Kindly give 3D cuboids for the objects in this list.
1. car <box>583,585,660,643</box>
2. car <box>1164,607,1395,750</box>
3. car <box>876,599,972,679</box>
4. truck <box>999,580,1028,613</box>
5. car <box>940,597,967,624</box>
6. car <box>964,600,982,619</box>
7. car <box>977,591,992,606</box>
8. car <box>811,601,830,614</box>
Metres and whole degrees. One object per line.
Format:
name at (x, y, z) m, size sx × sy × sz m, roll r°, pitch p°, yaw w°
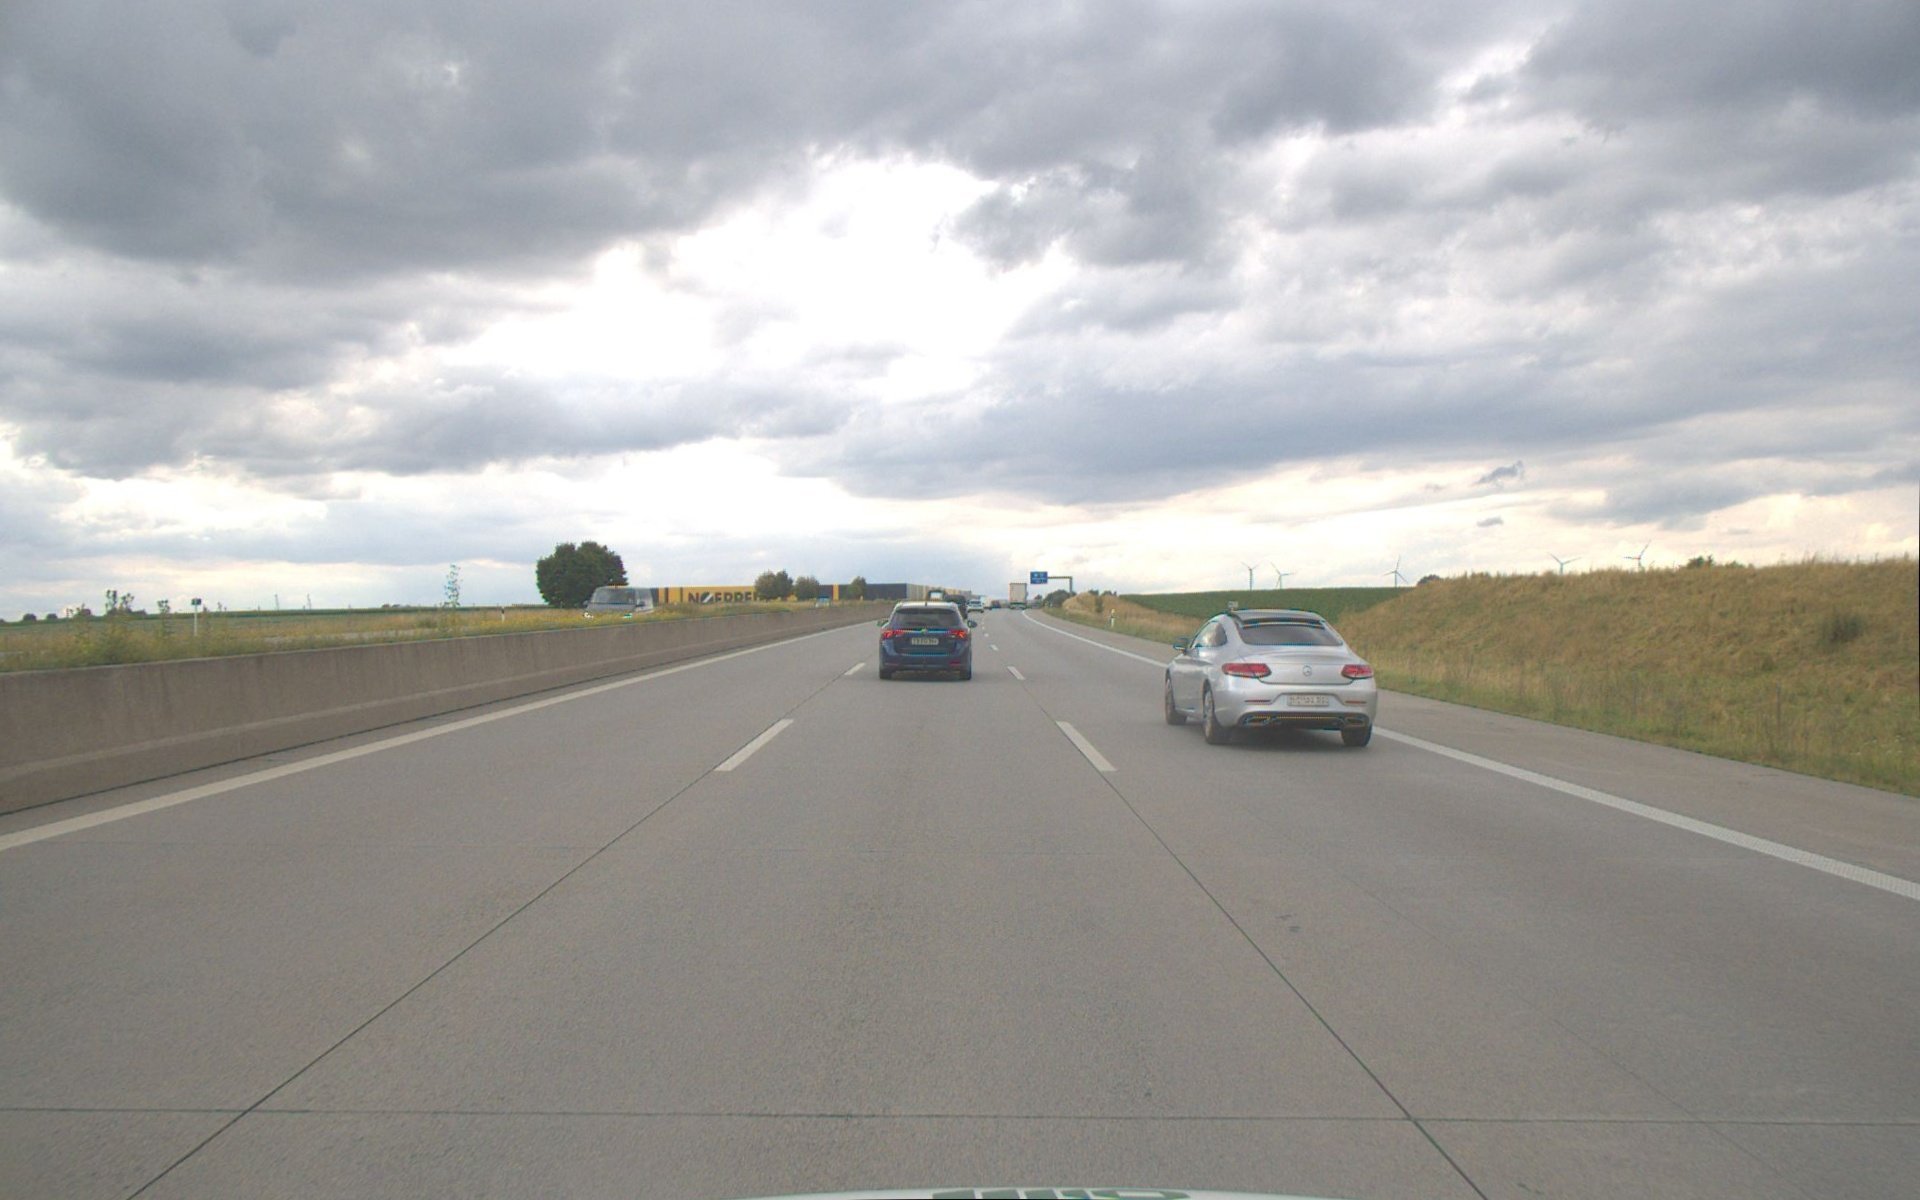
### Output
car at (-12.574, 0.472, 61.751) m, size 1.953 × 2.049 × 4.629 m, roll 1°, pitch 1°, yaw -1°
car at (3.479, 0.803, 18.774) m, size 1.752 × 1.428 × 4.220 m, roll 0°, pitch 0°, yaw -1°
car at (-0.676, 0.725, 32.050) m, size 1.738 × 1.438 × 3.999 m, roll 0°, pitch 0°, yaw -1°
truck at (8.398, -0.487, 260.330) m, size 3.870 × 4.839 × 12.072 m, roll 1°, pitch -1°, yaw -1°
car at (-0.511, 0.830, 127.903) m, size 1.953 × 2.049 × 3.998 m, roll 1°, pitch -1°, yaw -3°
car at (1.464, 1.030, 185.667) m, size 1.952 × 2.049 × 4.000 m, roll 2°, pitch 0°, yaw 0°
car at (3.498, -0.239, 236.133) m, size 1.953 × 2.049 × 3.999 m, roll 1°, pitch -1°, yaw -1°
car at (-17.129, 0.908, 203.263) m, size 1.858 × 1.496 × 4.850 m, roll 1°, pitch -1°, yaw 1°
